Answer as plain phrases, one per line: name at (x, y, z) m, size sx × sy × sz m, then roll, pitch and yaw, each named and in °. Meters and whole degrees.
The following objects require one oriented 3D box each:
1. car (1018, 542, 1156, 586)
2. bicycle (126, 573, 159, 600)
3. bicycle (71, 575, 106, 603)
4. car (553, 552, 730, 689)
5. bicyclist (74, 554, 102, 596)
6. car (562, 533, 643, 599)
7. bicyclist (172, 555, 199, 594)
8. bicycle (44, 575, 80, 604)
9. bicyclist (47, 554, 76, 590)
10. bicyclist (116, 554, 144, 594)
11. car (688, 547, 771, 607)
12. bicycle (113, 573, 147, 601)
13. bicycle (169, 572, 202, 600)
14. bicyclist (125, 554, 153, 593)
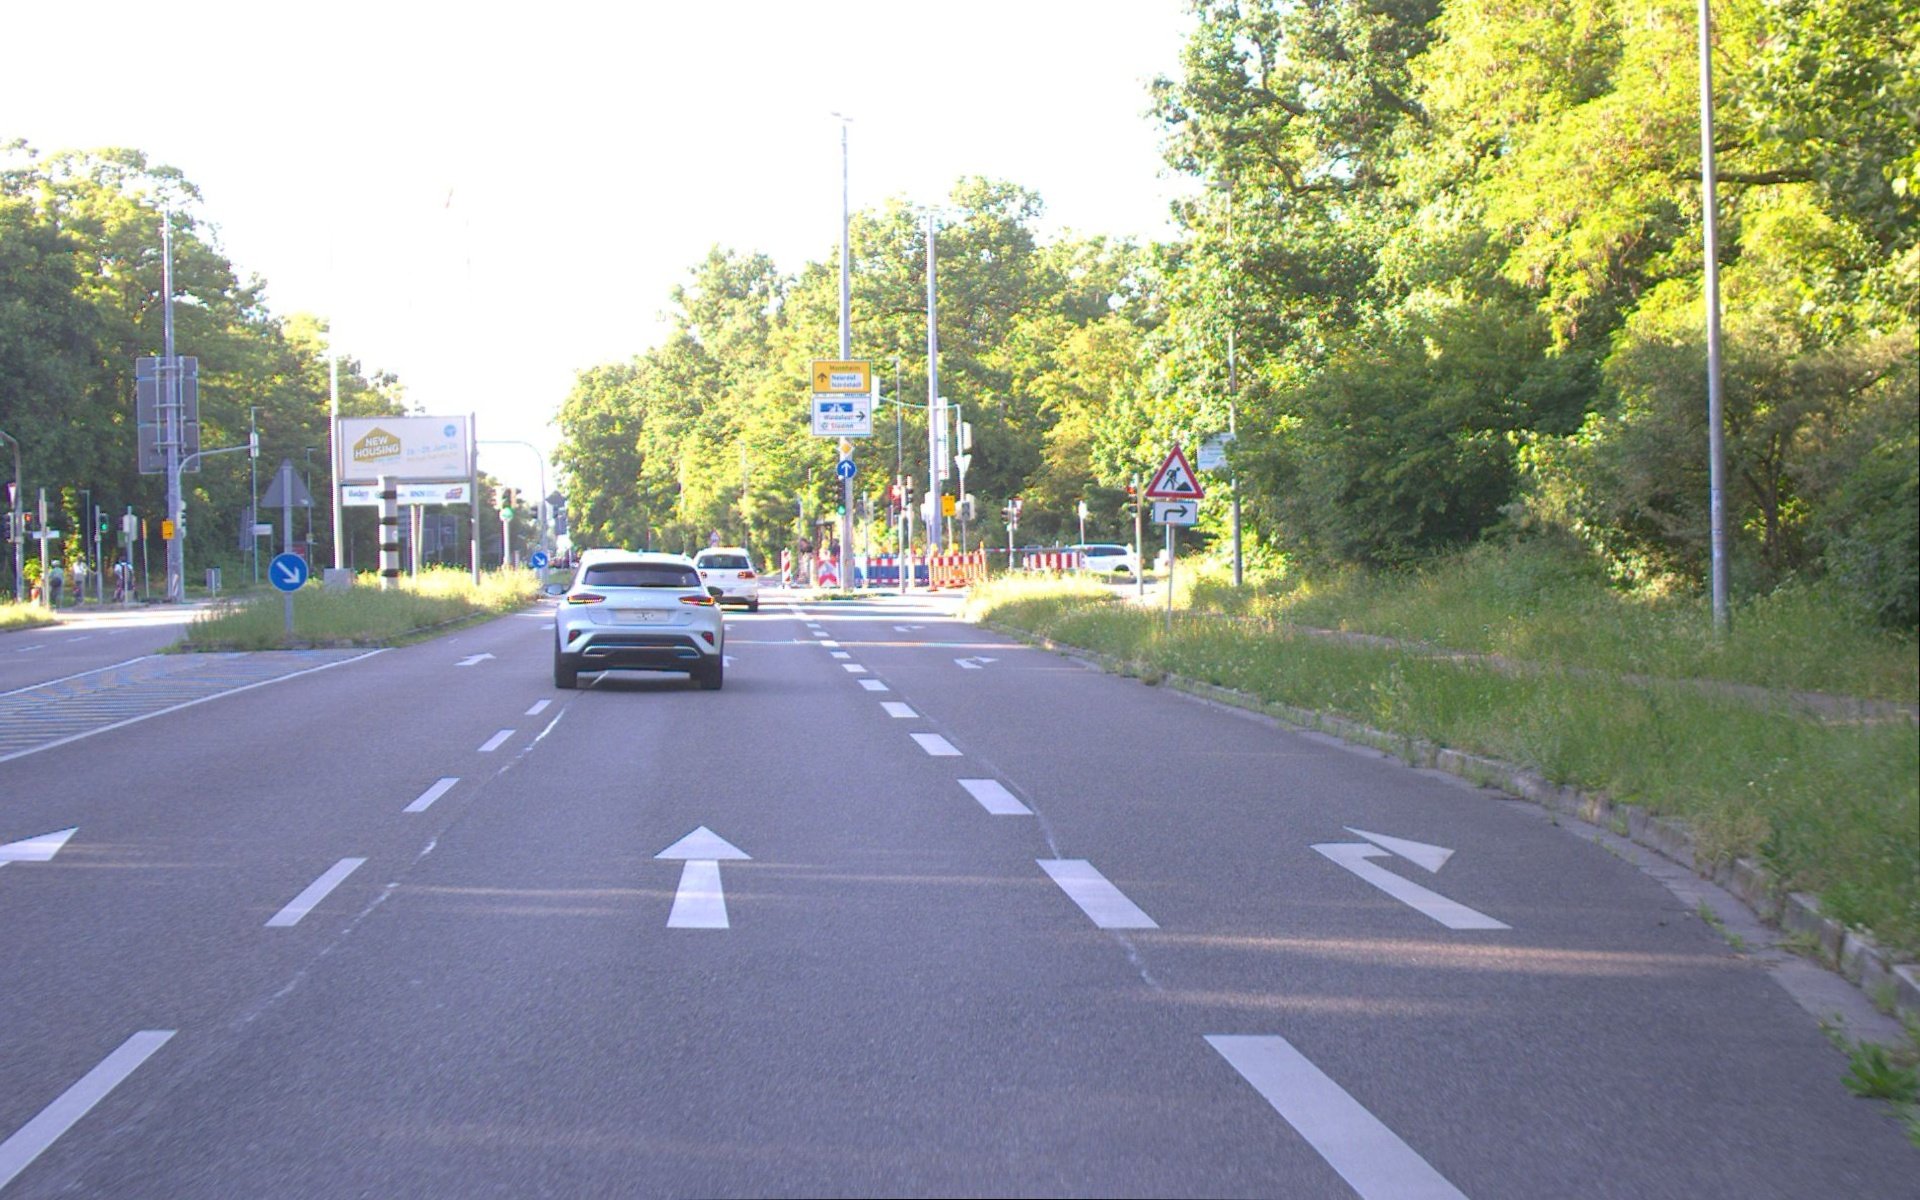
car at (4.801, -1.362, 130.021) m, size 4.817 × 1.575 × 2.000 m, roll -1°, pitch 1°, yaw -25°
bicycle at (-28.578, -0.489, 120.179) m, size 0.714 × 0.911 × 1.911 m, roll -1°, pitch 1°, yaw -1°
bicycle at (-29.695, -0.373, 117.173) m, size 0.714 × 0.911 × 1.911 m, roll -1°, pitch 1°, yaw -1°
car at (-3.526, 0.189, 38.507) m, size 1.863 × 1.439 × 4.001 m, roll 0°, pitch 1°, yaw -4°
bicyclist at (-29.707, -0.852, 117.131) m, size 0.710 × 1.385 × 0.990 m, roll -1°, pitch 1°, yaw -1°
car at (-9.634, -0.926, 92.461) m, size 1.993 × 1.679 × 4.001 m, roll -1°, pitch 1°, yaw -8°
bicyclist at (-26.625, -0.882, 118.185) m, size 0.714 × 1.334 × 0.990 m, roll -1°, pitch 1°, yaw -1°
bicycle at (-30.607, -0.364, 117.192) m, size 0.714 × 0.911 × 1.911 m, roll -1°, pitch 2°, yaw -1°
bicyclist at (-30.620, -0.954, 117.184) m, size 0.714 × 1.188 × 0.990 m, roll -1°, pitch 1°, yaw -1°
bicyclist at (-28.508, -0.881, 118.077) m, size 0.714 × 1.351 × 0.990 m, roll -1°, pitch 1°, yaw -1°
car at (-5.643, -0.586, 84.450) m, size 1.940 × 1.409 × 4.001 m, roll -1°, pitch 1°, yaw -3°
bicycle at (-28.502, -0.449, 118.088) m, size 0.714 × 0.911 × 1.911 m, roll -1°, pitch 1°, yaw -1°
bicycle at (-26.620, -0.489, 118.132) m, size 0.714 × 0.911 × 1.911 m, roll -1°, pitch 1°, yaw -1°
bicyclist at (-28.579, -0.920, 119.713) m, size 0.714 × 1.337 × 0.990 m, roll -1°, pitch 1°, yaw -1°
